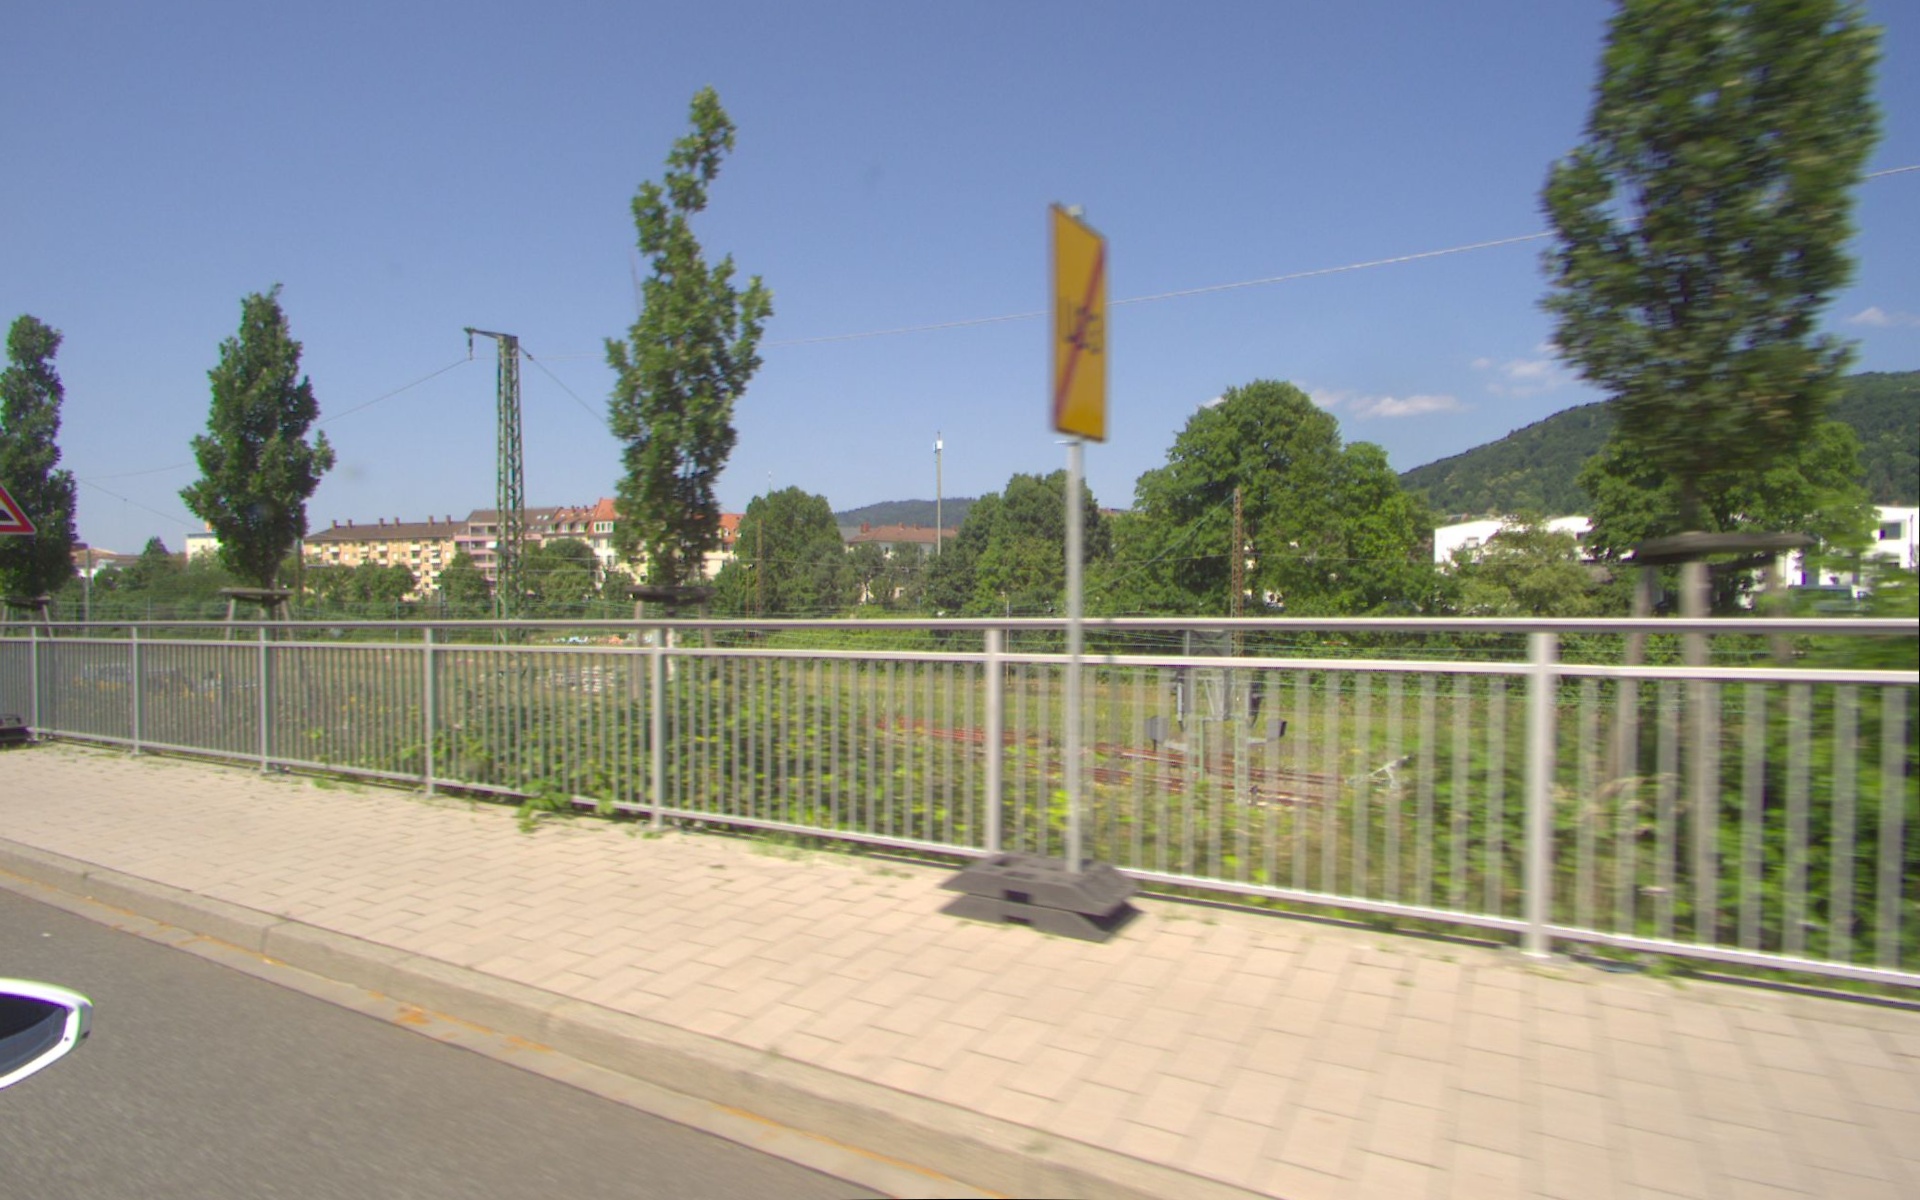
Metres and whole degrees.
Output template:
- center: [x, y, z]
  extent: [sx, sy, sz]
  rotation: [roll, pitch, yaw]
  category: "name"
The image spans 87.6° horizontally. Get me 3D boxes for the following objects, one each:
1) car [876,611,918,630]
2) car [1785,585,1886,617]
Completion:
- center: [-7.579, 2.430, 120.282]
  extent: [4.921, 2.141, 1.988]
  rotation: [0, 1, 34]
  category: "car"
- center: [58.807, 0.062, 67.397]
  extent: [4.924, 2.141, 1.987]
  rotation: [0, 1, 36]
  category: "car"
